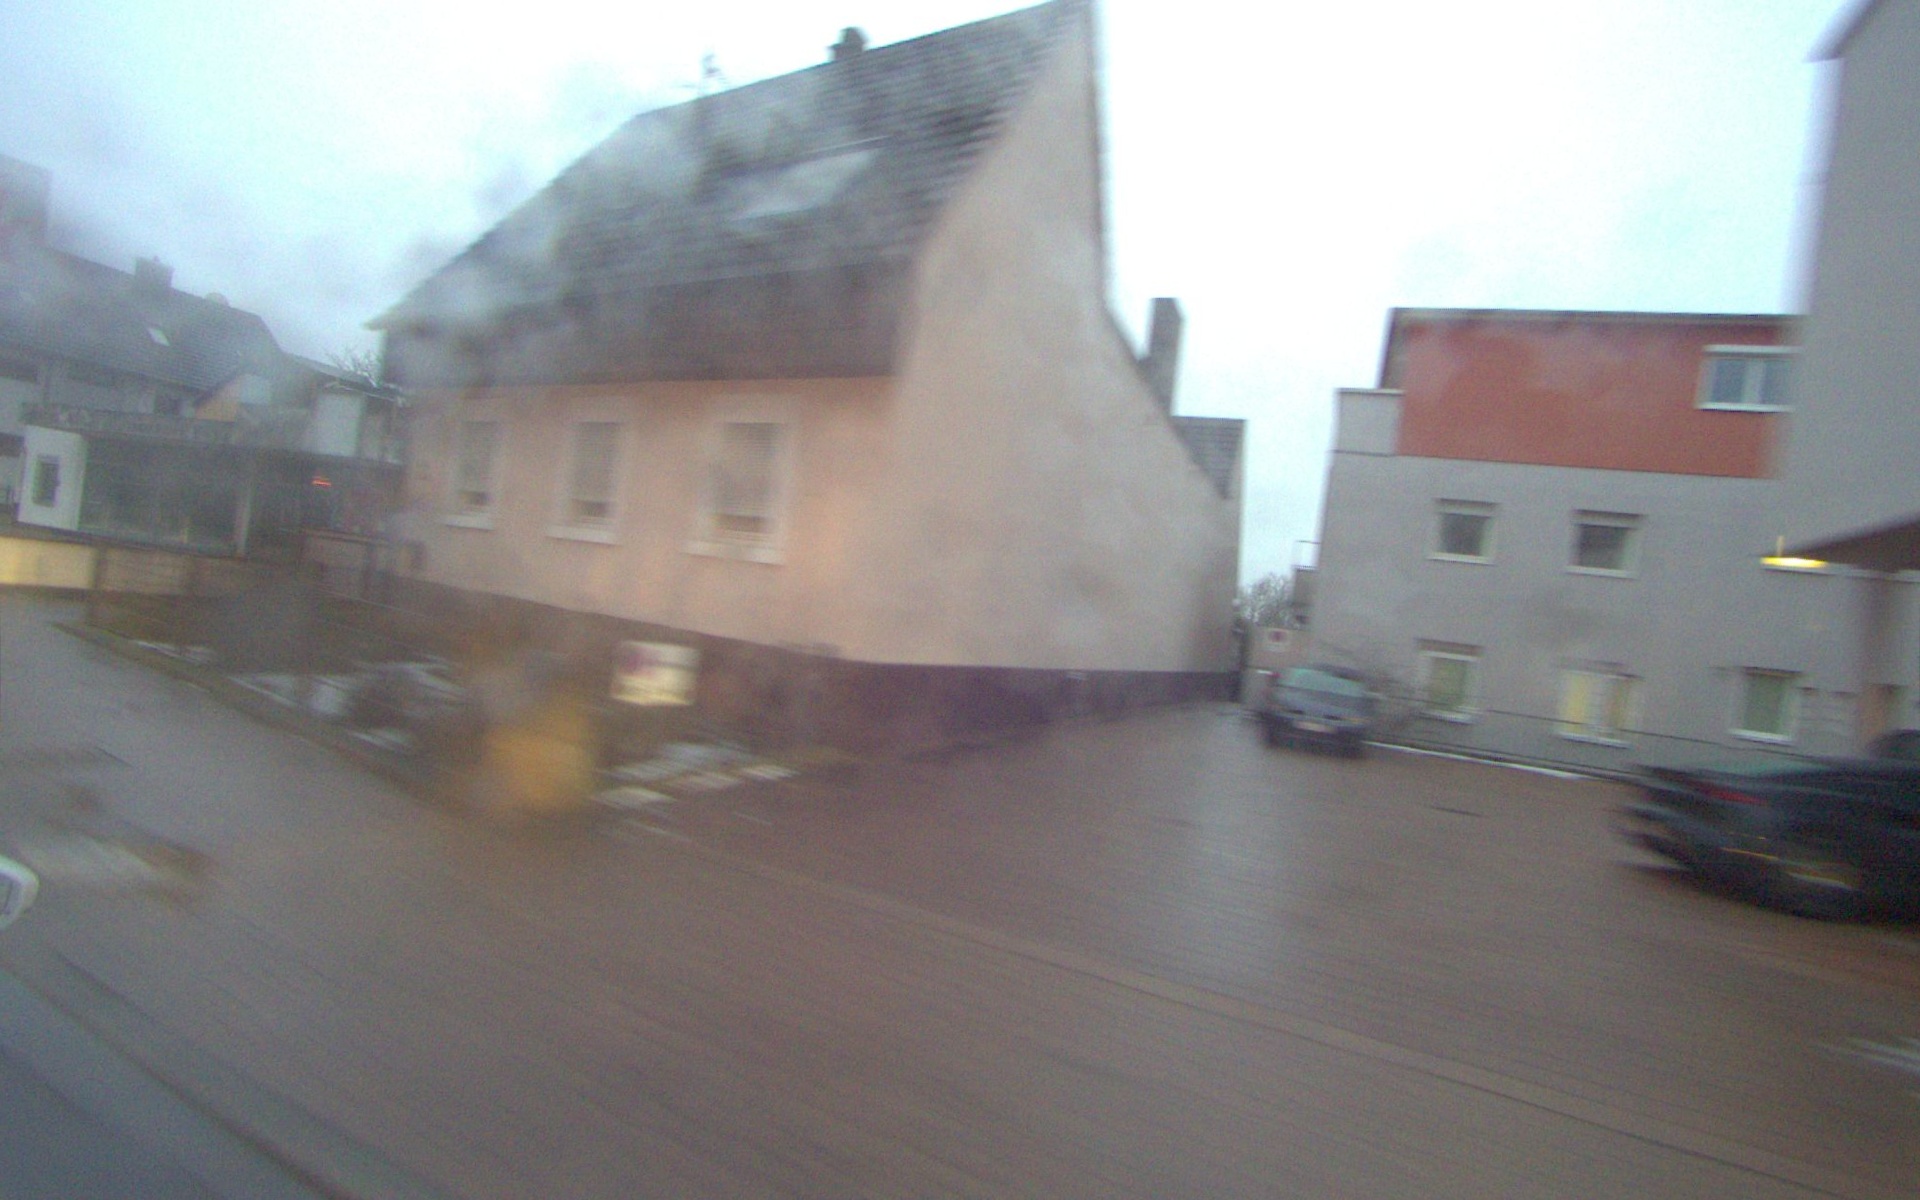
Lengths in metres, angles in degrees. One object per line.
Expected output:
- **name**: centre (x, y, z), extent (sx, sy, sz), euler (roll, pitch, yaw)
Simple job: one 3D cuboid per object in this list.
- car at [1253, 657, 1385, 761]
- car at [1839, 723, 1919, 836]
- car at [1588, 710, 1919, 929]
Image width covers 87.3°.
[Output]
- **car**: centre (6.542, 1.890, 18.068), extent (1.809, 1.393, 4.000), euler (8, -1, 24)
- **car**: centre (14.880, 2.778, 14.536), extent (1.839, 1.483, 4.721), euler (8, 0, 25)
- **car**: centre (7.708, 1.834, 8.030), extent (4.091, 1.274, 1.882), euler (6, -1, 14)
